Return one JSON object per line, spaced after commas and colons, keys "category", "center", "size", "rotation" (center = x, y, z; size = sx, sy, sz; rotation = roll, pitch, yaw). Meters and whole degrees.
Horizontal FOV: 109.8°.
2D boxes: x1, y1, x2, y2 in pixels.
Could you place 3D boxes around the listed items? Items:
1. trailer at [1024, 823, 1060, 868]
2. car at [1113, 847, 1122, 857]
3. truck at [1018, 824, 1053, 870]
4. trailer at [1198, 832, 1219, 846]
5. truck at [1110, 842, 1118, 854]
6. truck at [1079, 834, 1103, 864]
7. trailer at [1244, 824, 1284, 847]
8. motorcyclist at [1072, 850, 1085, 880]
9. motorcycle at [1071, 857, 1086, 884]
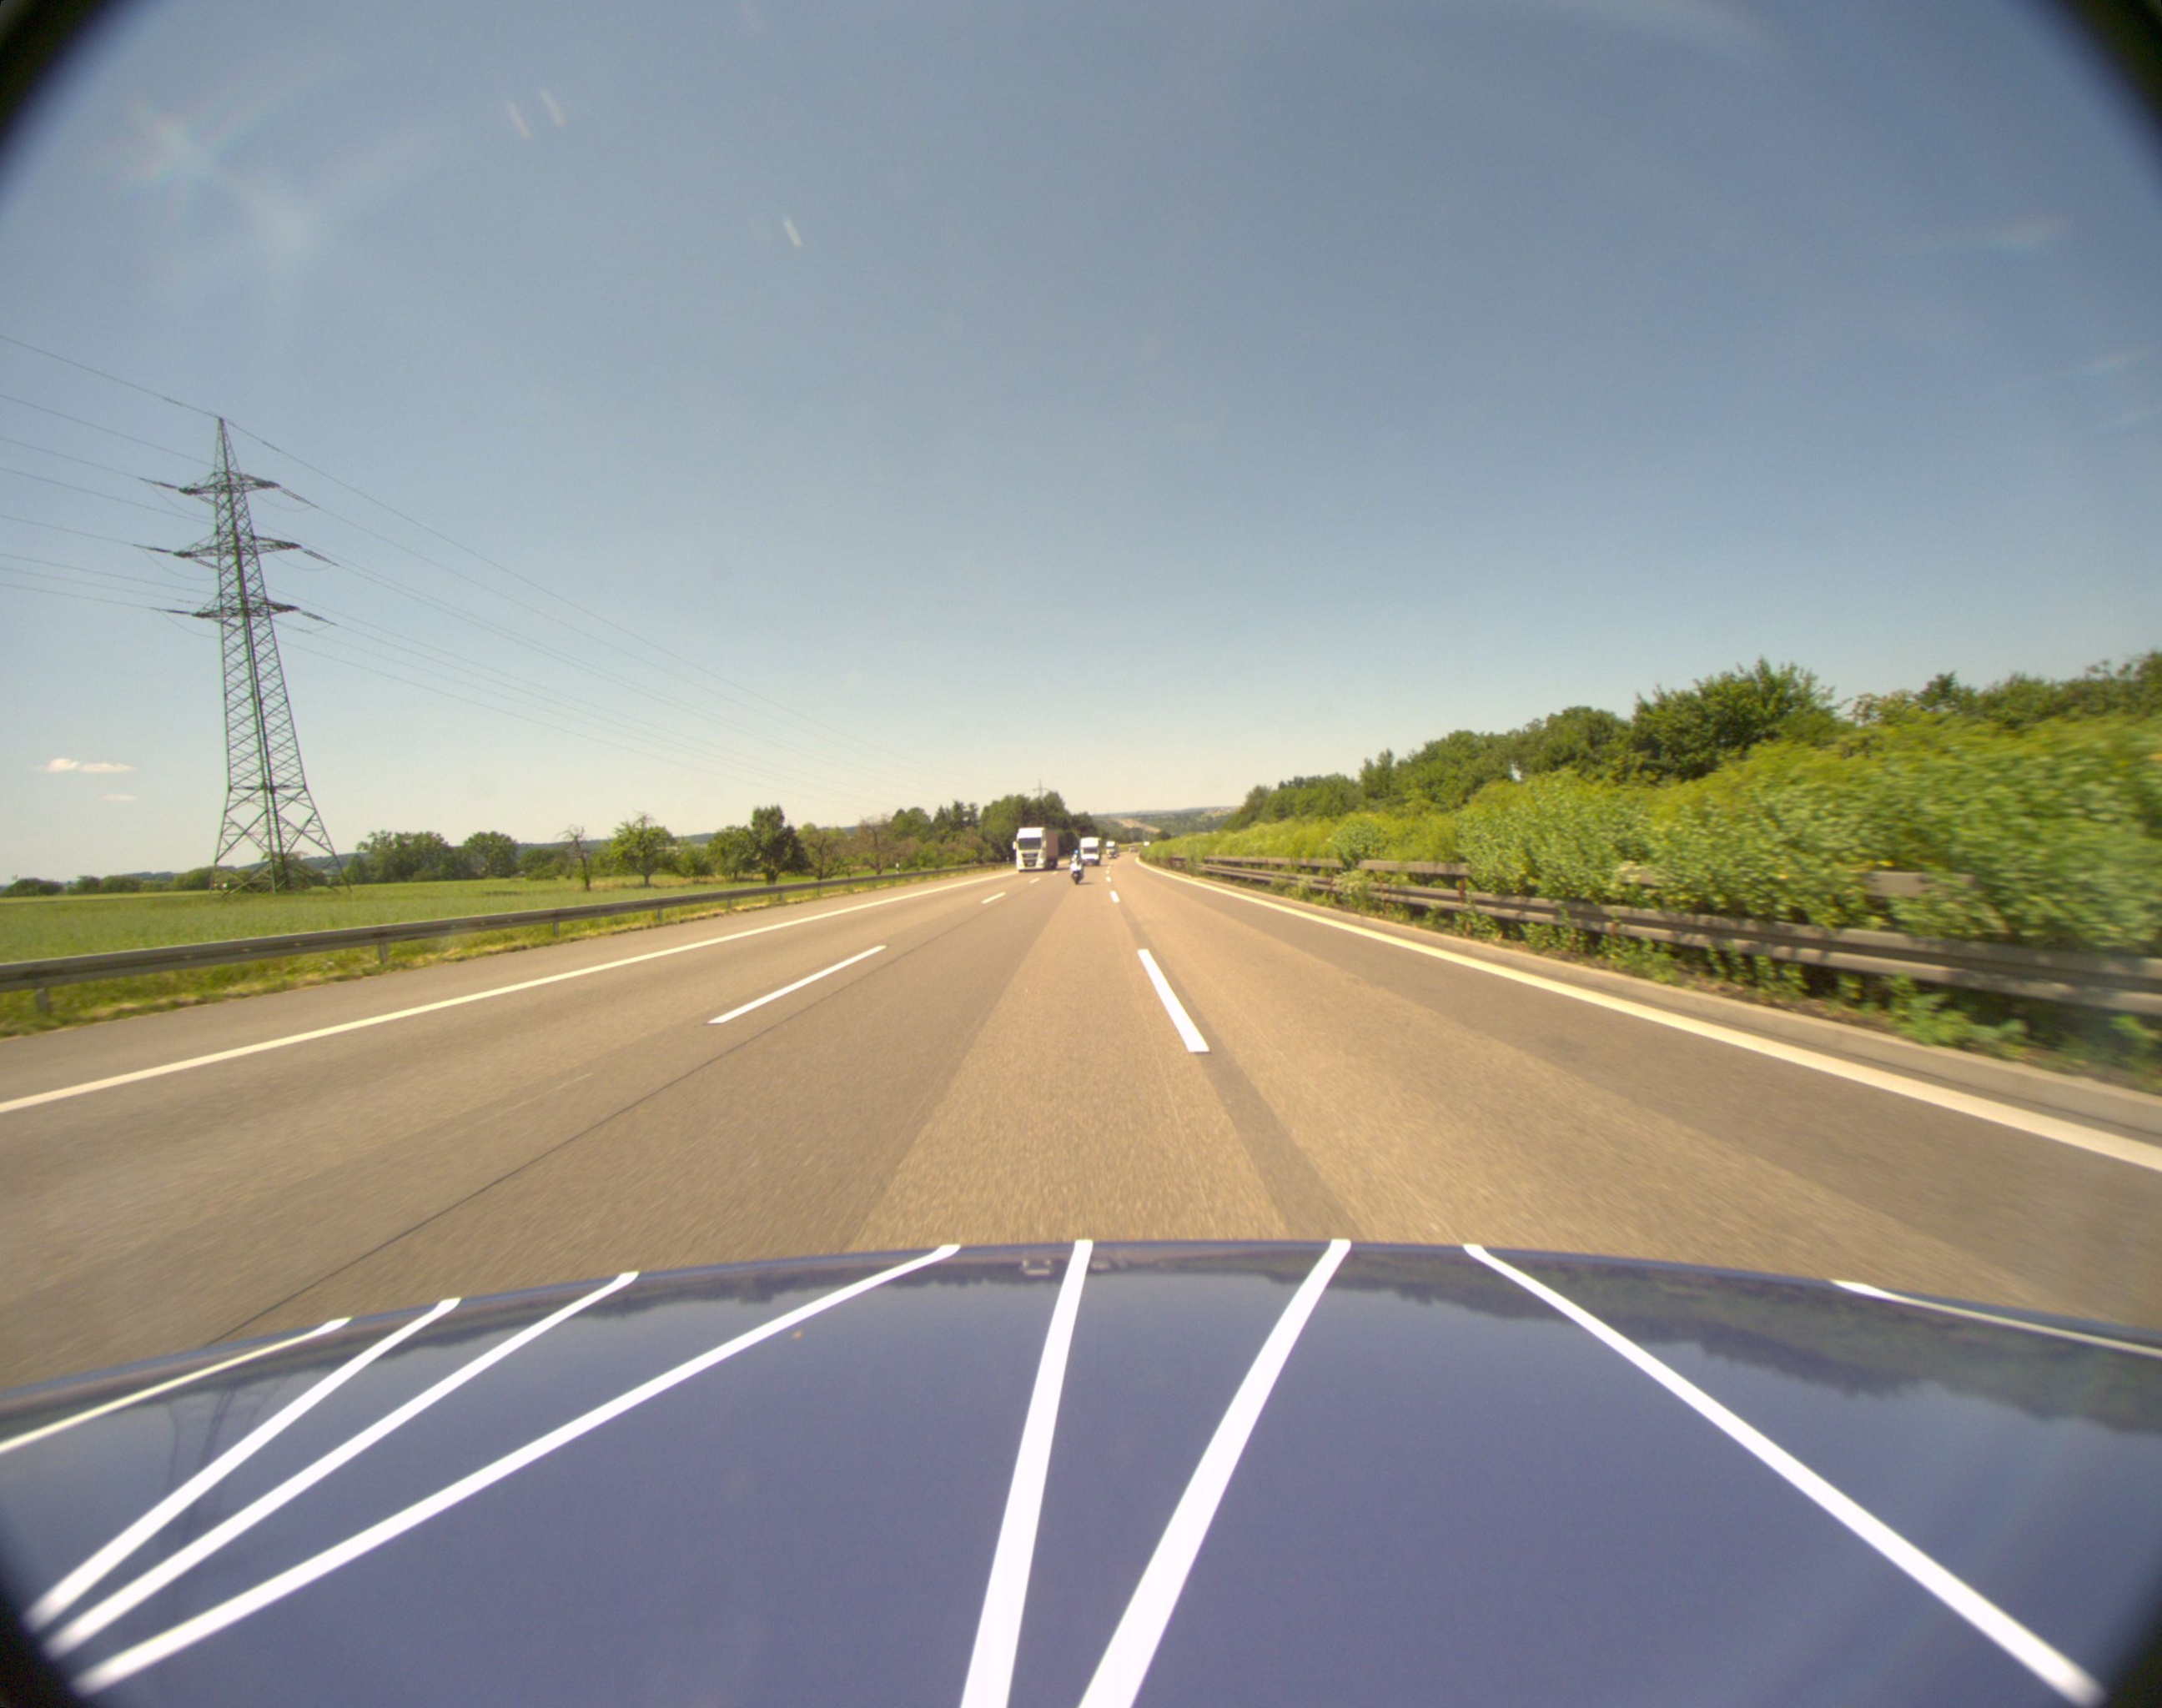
{"category": "trailer", "center": [-3.948, -0.919, 79.995], "size": [2.607, 4.239, 13.033], "rotation": [-2, 1, 2]}
{"category": "car", "center": [7.589, -0.417, 156.792], "size": [1.704, 1.958, 4.000], "rotation": [-2, 1, 3]}
{"category": "truck", "center": [-4.234, -0.684, 72.011], "size": [2.567, 4.130, 6.249], "rotation": [-2, 1, 2]}
{"category": "trailer", "center": [27.417, -3.121, 163.340], "size": [2.680, 2.785, 12.314], "rotation": [-2, 1, 1]}
{"category": "truck", "center": [10.518, -1.876, 240.787], "size": [2.590, 3.444, 5.963], "rotation": [-2, 1, 3]}
{"category": "truck", "center": [1.156, -0.578, 87.151], "size": [2.513, 3.268, 8.106], "rotation": [-1, 1, 1]}
{"category": "trailer", "center": [22.698, -2.224, 94.958], "size": [2.573, 2.694, 11.407], "rotation": [-2, 1, 2]}
{"category": "motorcyclist", "center": [-0.116, 0.541, 38.113], "size": [0.613, 1.499, 0.513], "rotation": [-2, 1, 1]}
{"category": "motorcycle", "center": [-0.112, 0.806, 37.952], "size": [0.631, 1.279, 2.313], "rotation": [-2, 1, 2]}
